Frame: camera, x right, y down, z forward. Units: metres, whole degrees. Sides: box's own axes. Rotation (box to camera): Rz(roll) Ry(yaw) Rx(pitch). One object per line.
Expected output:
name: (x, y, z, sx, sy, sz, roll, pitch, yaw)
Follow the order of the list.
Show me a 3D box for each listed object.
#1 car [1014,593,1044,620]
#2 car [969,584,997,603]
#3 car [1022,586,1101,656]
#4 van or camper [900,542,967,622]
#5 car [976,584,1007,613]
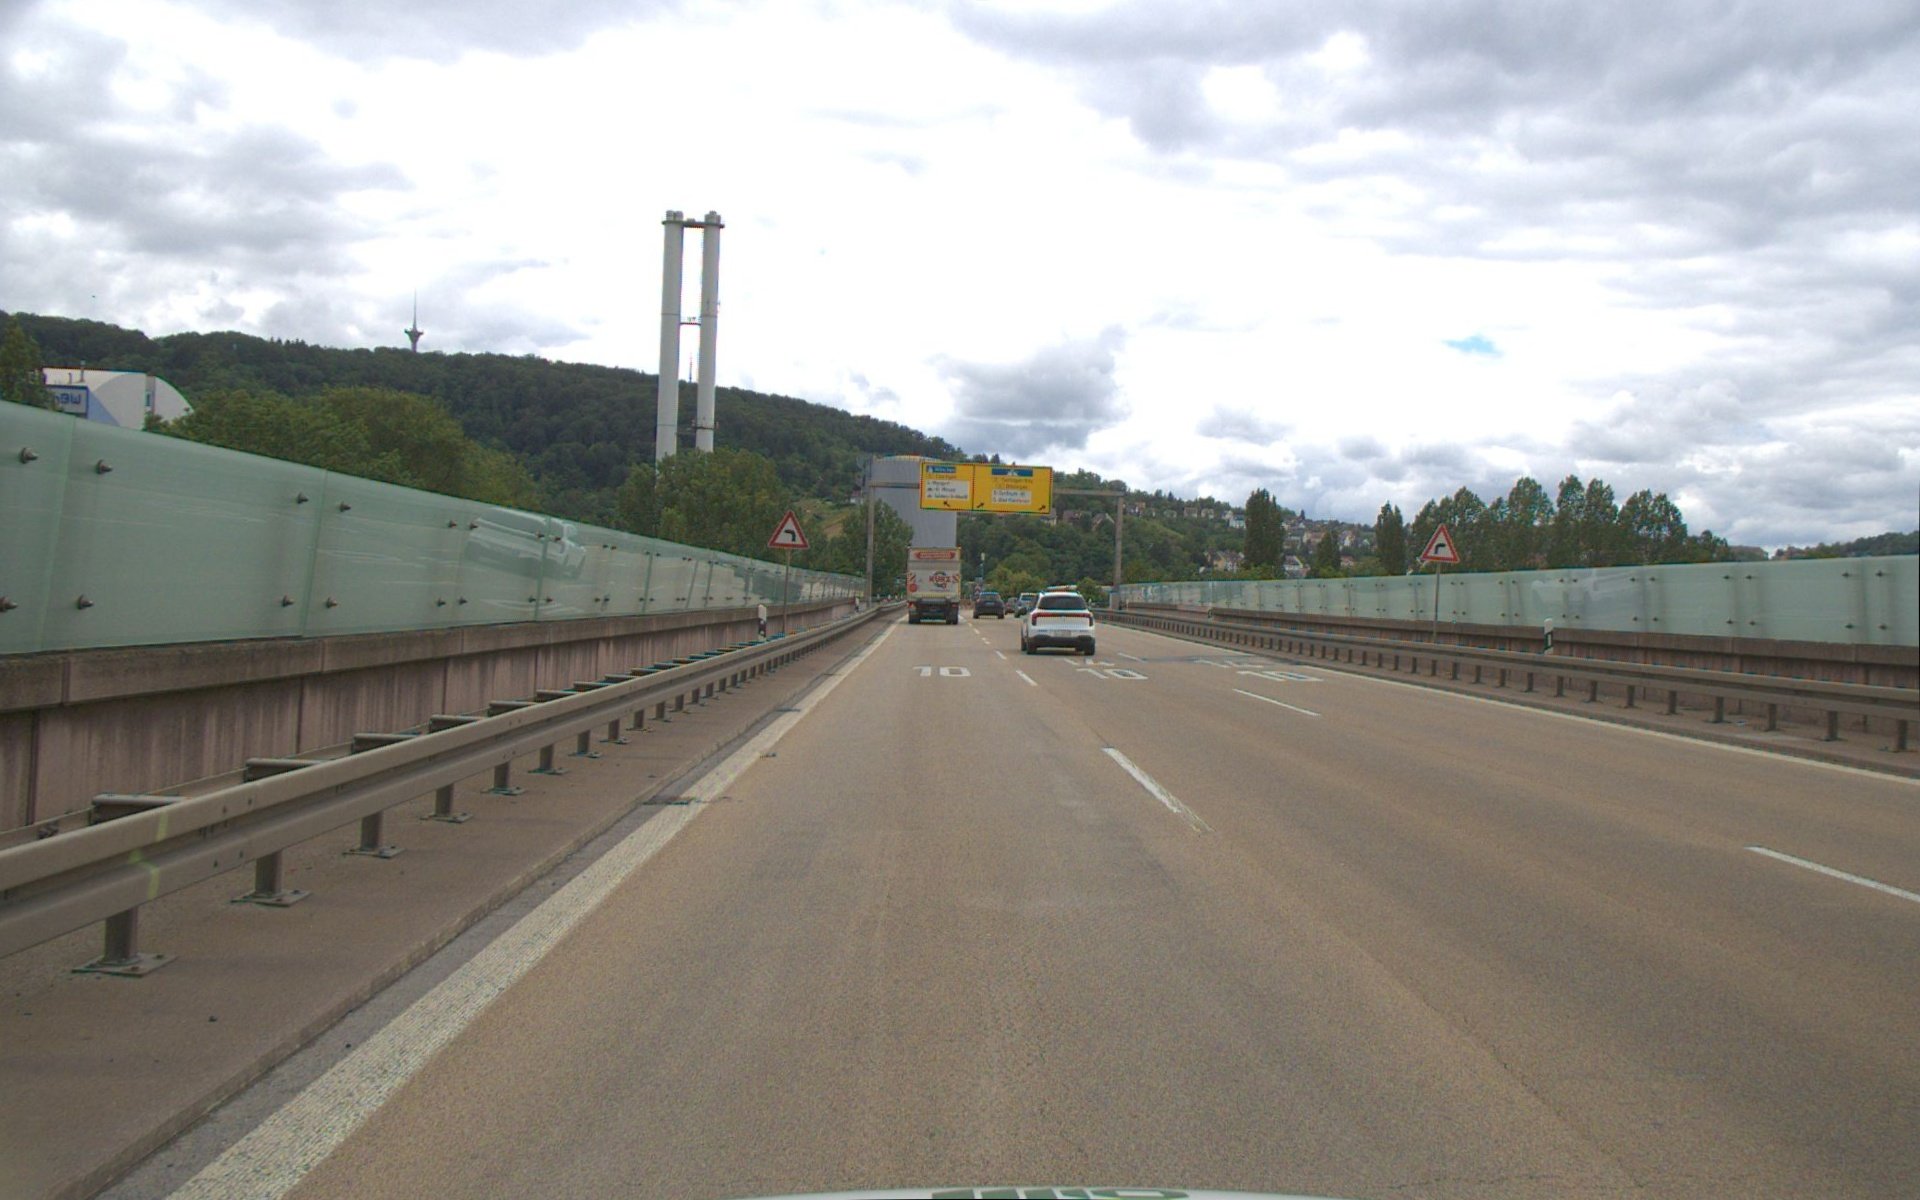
car: (4.758, 0.430, 114.225, 1.884, 1.816, 4.113, 1, 1, 0)
car: (2.572, -0.691, 180.901, 2.420, 2.014, 5.164, 1, 0, 8)
car: (2.736, 0.538, 45.549, 1.884, 1.816, 4.113, 1, 1, 0)
van or camper: (-1.192, -0.832, 80.490, 3.058, 3.641, 8.550, 1, 0, 0)
car: (1.972, -0.109, 104.870, 1.884, 1.816, 4.113, 1, 1, 0)
